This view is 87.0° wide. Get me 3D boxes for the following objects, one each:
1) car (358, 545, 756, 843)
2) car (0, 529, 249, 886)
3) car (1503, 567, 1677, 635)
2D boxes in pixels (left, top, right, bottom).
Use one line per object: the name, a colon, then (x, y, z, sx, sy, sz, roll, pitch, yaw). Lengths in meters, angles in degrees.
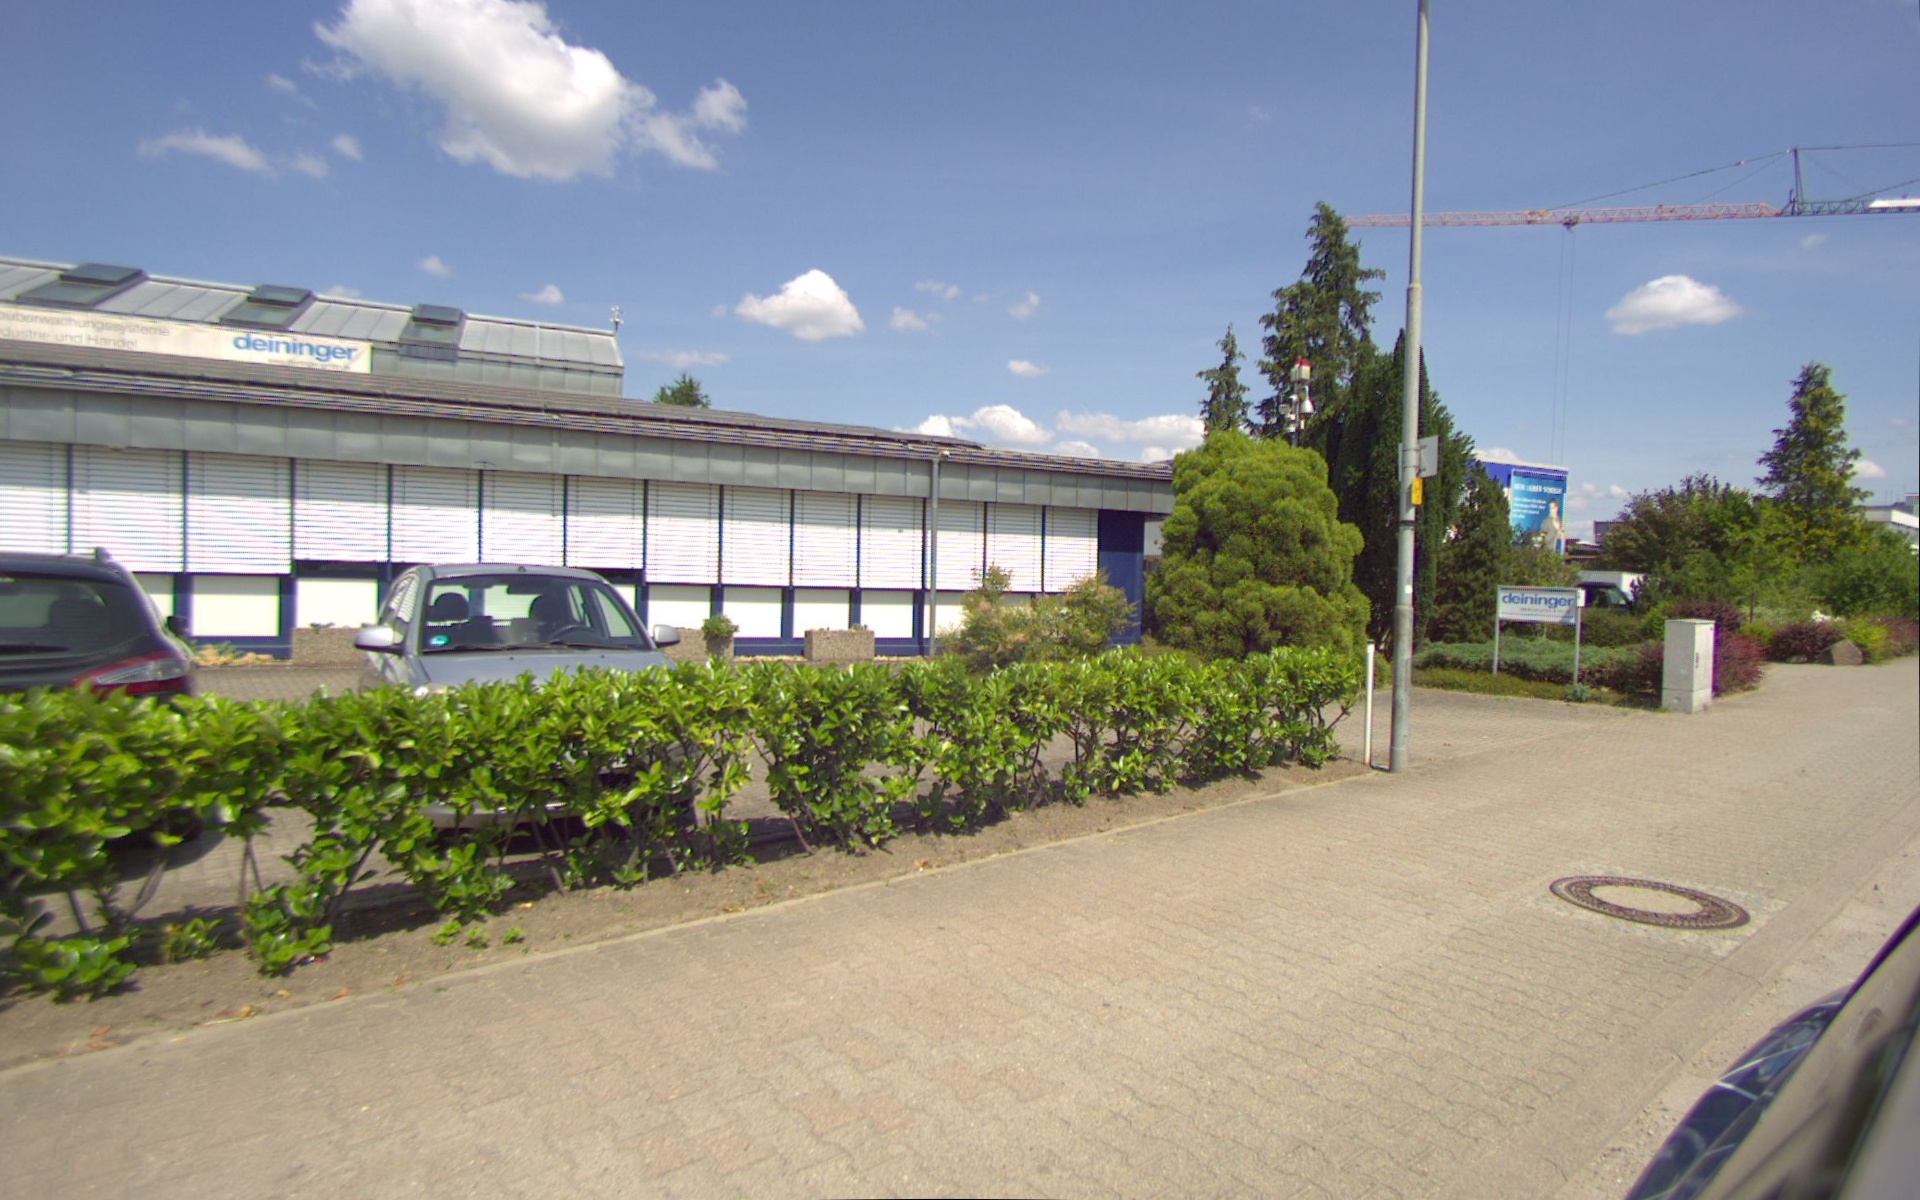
car: (-2.857, 0.379, 6.727, 1.736, 1.419, 3.365, 0, 3, -35)
car: (-5.442, 0.375, 5.757, 1.784, 1.458, 4.481, 0, 2, -42)
car: (18.631, -0.031, 29.939, 4.691, 1.819, 1.909, -1, 4, -21)
